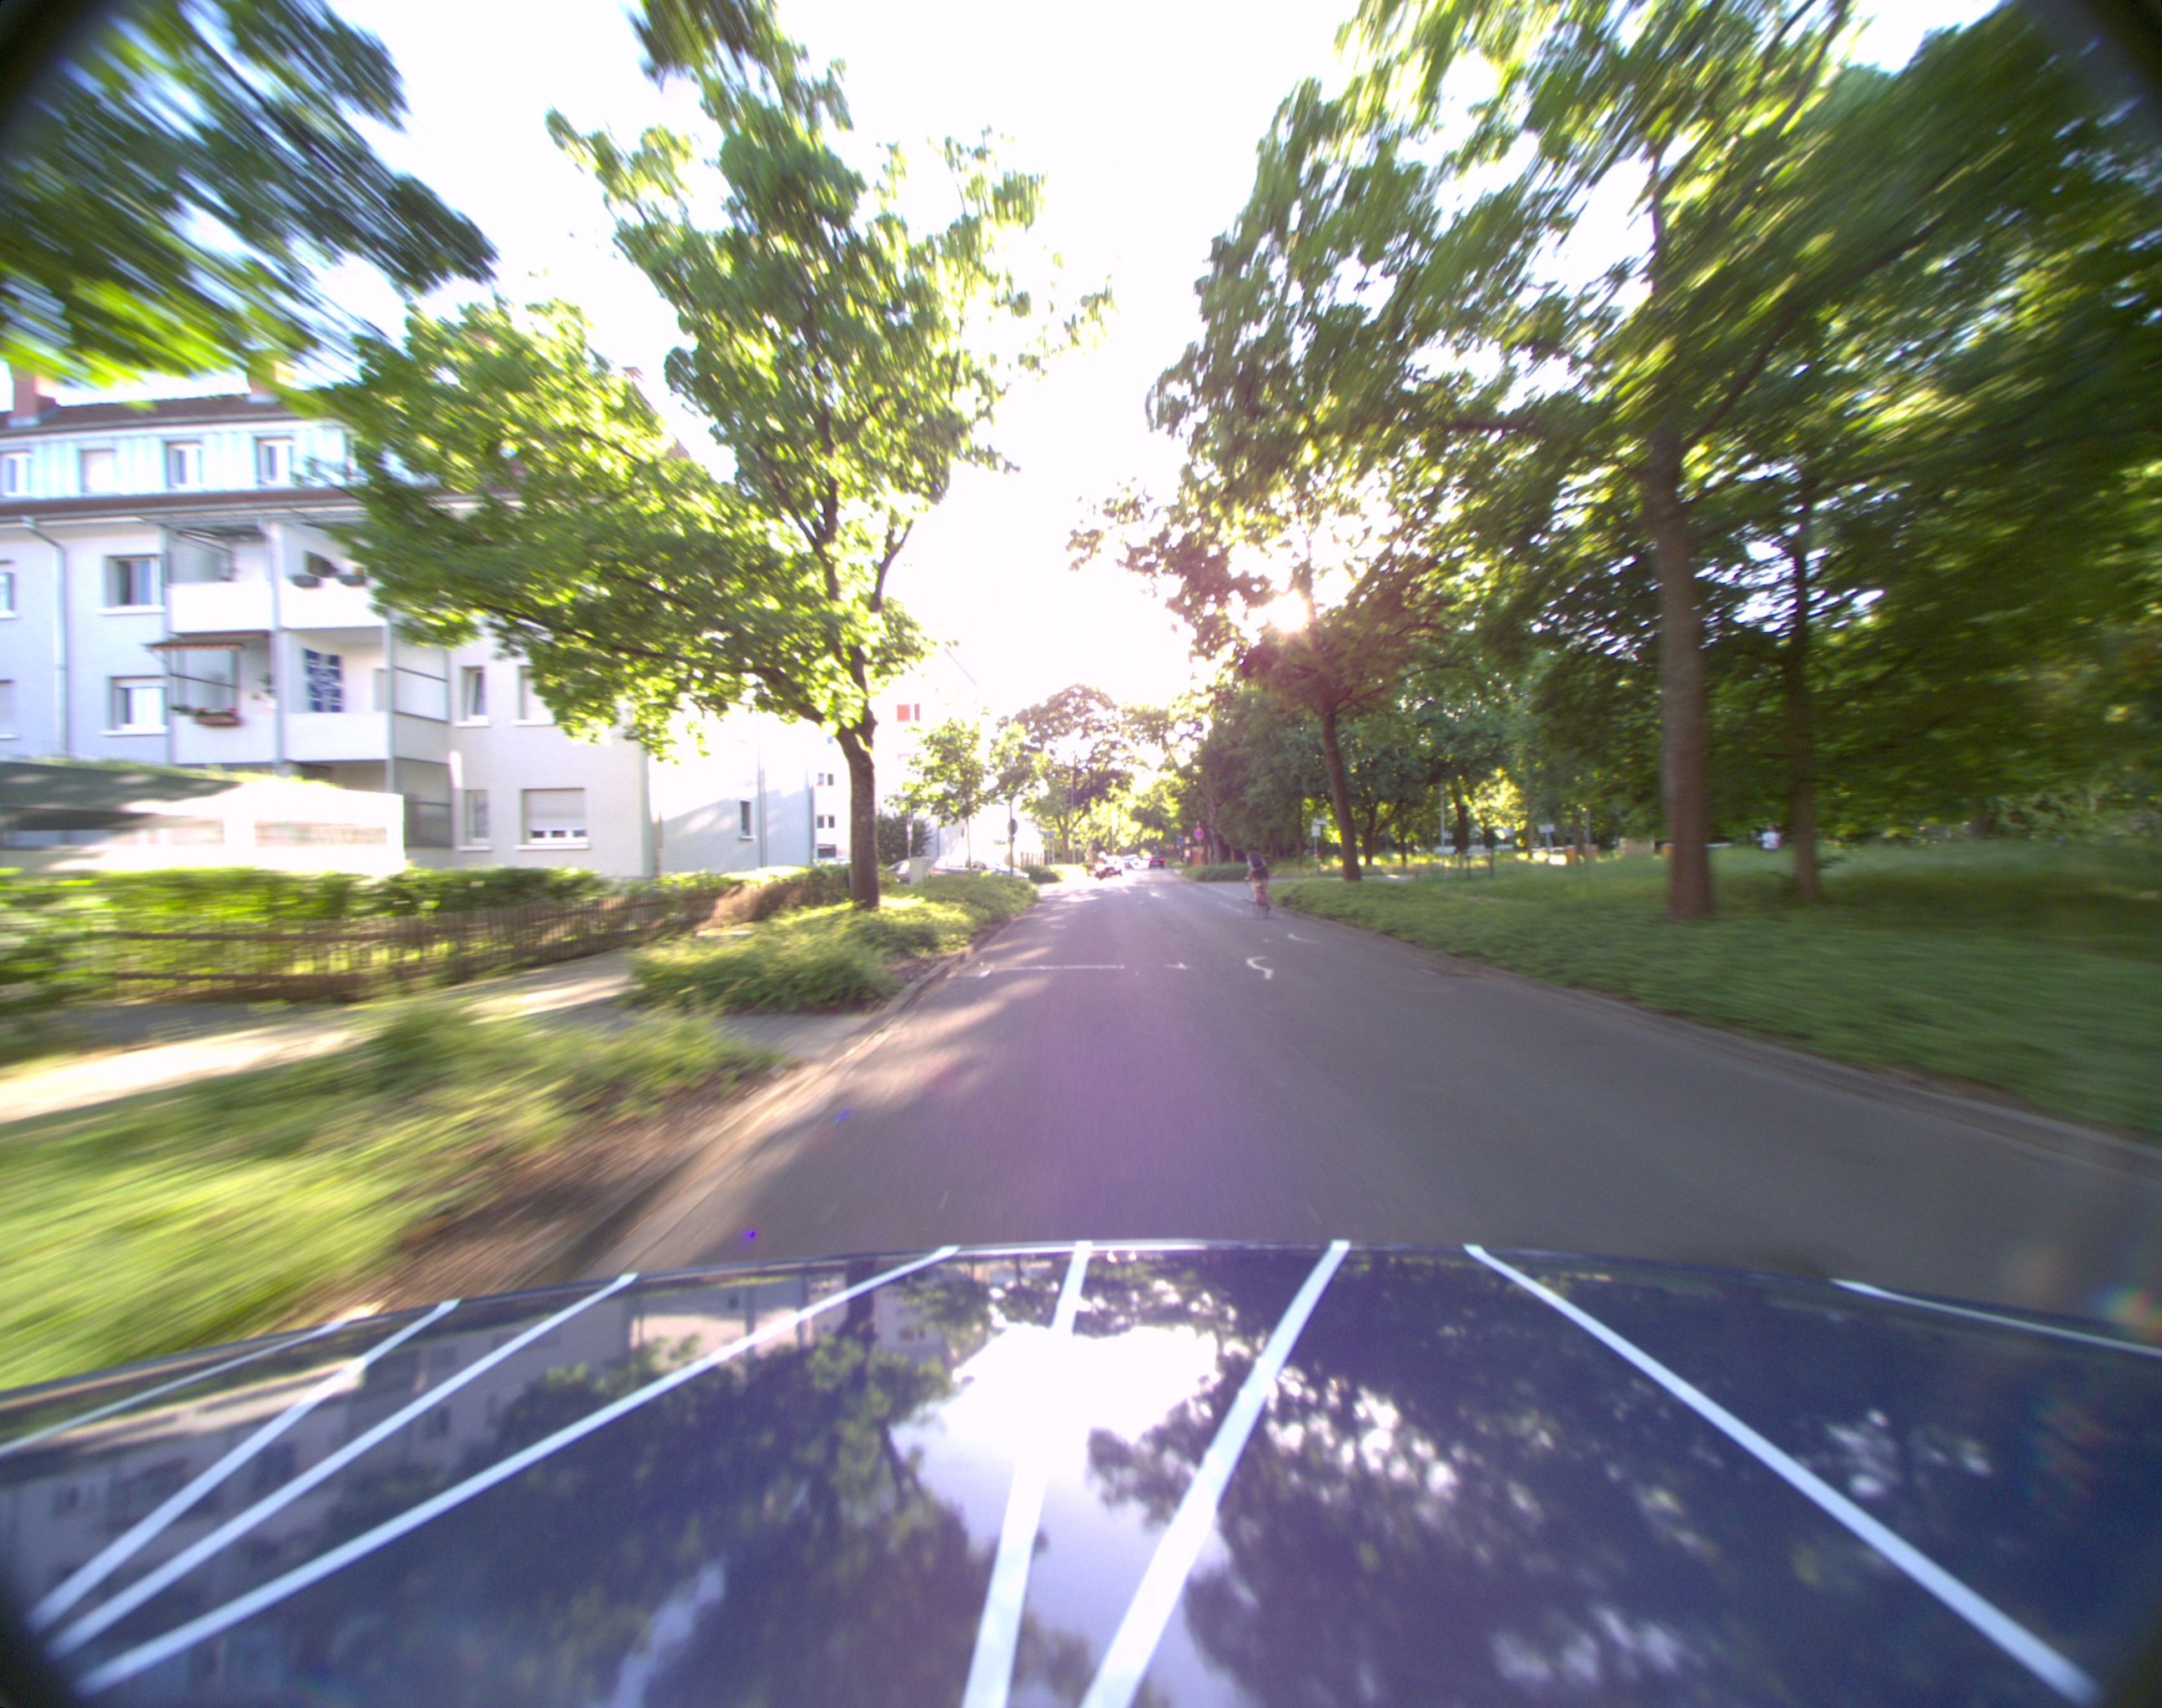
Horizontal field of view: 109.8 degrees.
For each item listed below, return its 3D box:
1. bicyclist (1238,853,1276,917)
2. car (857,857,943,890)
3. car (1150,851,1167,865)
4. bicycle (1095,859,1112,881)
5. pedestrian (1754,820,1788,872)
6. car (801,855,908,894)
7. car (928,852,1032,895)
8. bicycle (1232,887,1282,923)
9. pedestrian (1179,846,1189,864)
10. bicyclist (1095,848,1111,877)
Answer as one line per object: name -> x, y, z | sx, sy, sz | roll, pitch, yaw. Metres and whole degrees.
bicyclist -> 4.364, 0.759, 18.883 | 0.635, 1.546, 1.002 | 0, 1, -4
car -> -9.513, 1.023, 40.219 | 4.050, 1.506, 1.726 | -2, 2, 2
car -> 9.394, 0.482, 91.844 | 1.847, 1.569, 4.338 | 0, 0, 8
bicycle -> 1.333, 0.915, 44.848 | 0.829, 1.182, 2.303 | -2, 0, 5
pedestrian -> 27.319, -0.313, 30.091 | 0.758, 2.002, 0.590 | -2, 1, -2
car -> -9.707, 0.884, 32.760 | 3.997, 1.572, 1.810 | -1, -1, 1
car -> -4.479, 0.847, 34.036 | 4.274, 1.664, 1.770 | -3, 0, 6
bicycle -> 4.354, 1.247, 18.897 | 0.640, 0.737, 2.125 | 0, 0, -3
pedestrian -> 10.759, 0.104, 79.334 | 0.905, 1.810, 0.721 | -2, 0, 3
bicyclist -> 1.307, 0.487, 44.773 | 0.819, 1.635, 0.745 | -3, 1, 4
